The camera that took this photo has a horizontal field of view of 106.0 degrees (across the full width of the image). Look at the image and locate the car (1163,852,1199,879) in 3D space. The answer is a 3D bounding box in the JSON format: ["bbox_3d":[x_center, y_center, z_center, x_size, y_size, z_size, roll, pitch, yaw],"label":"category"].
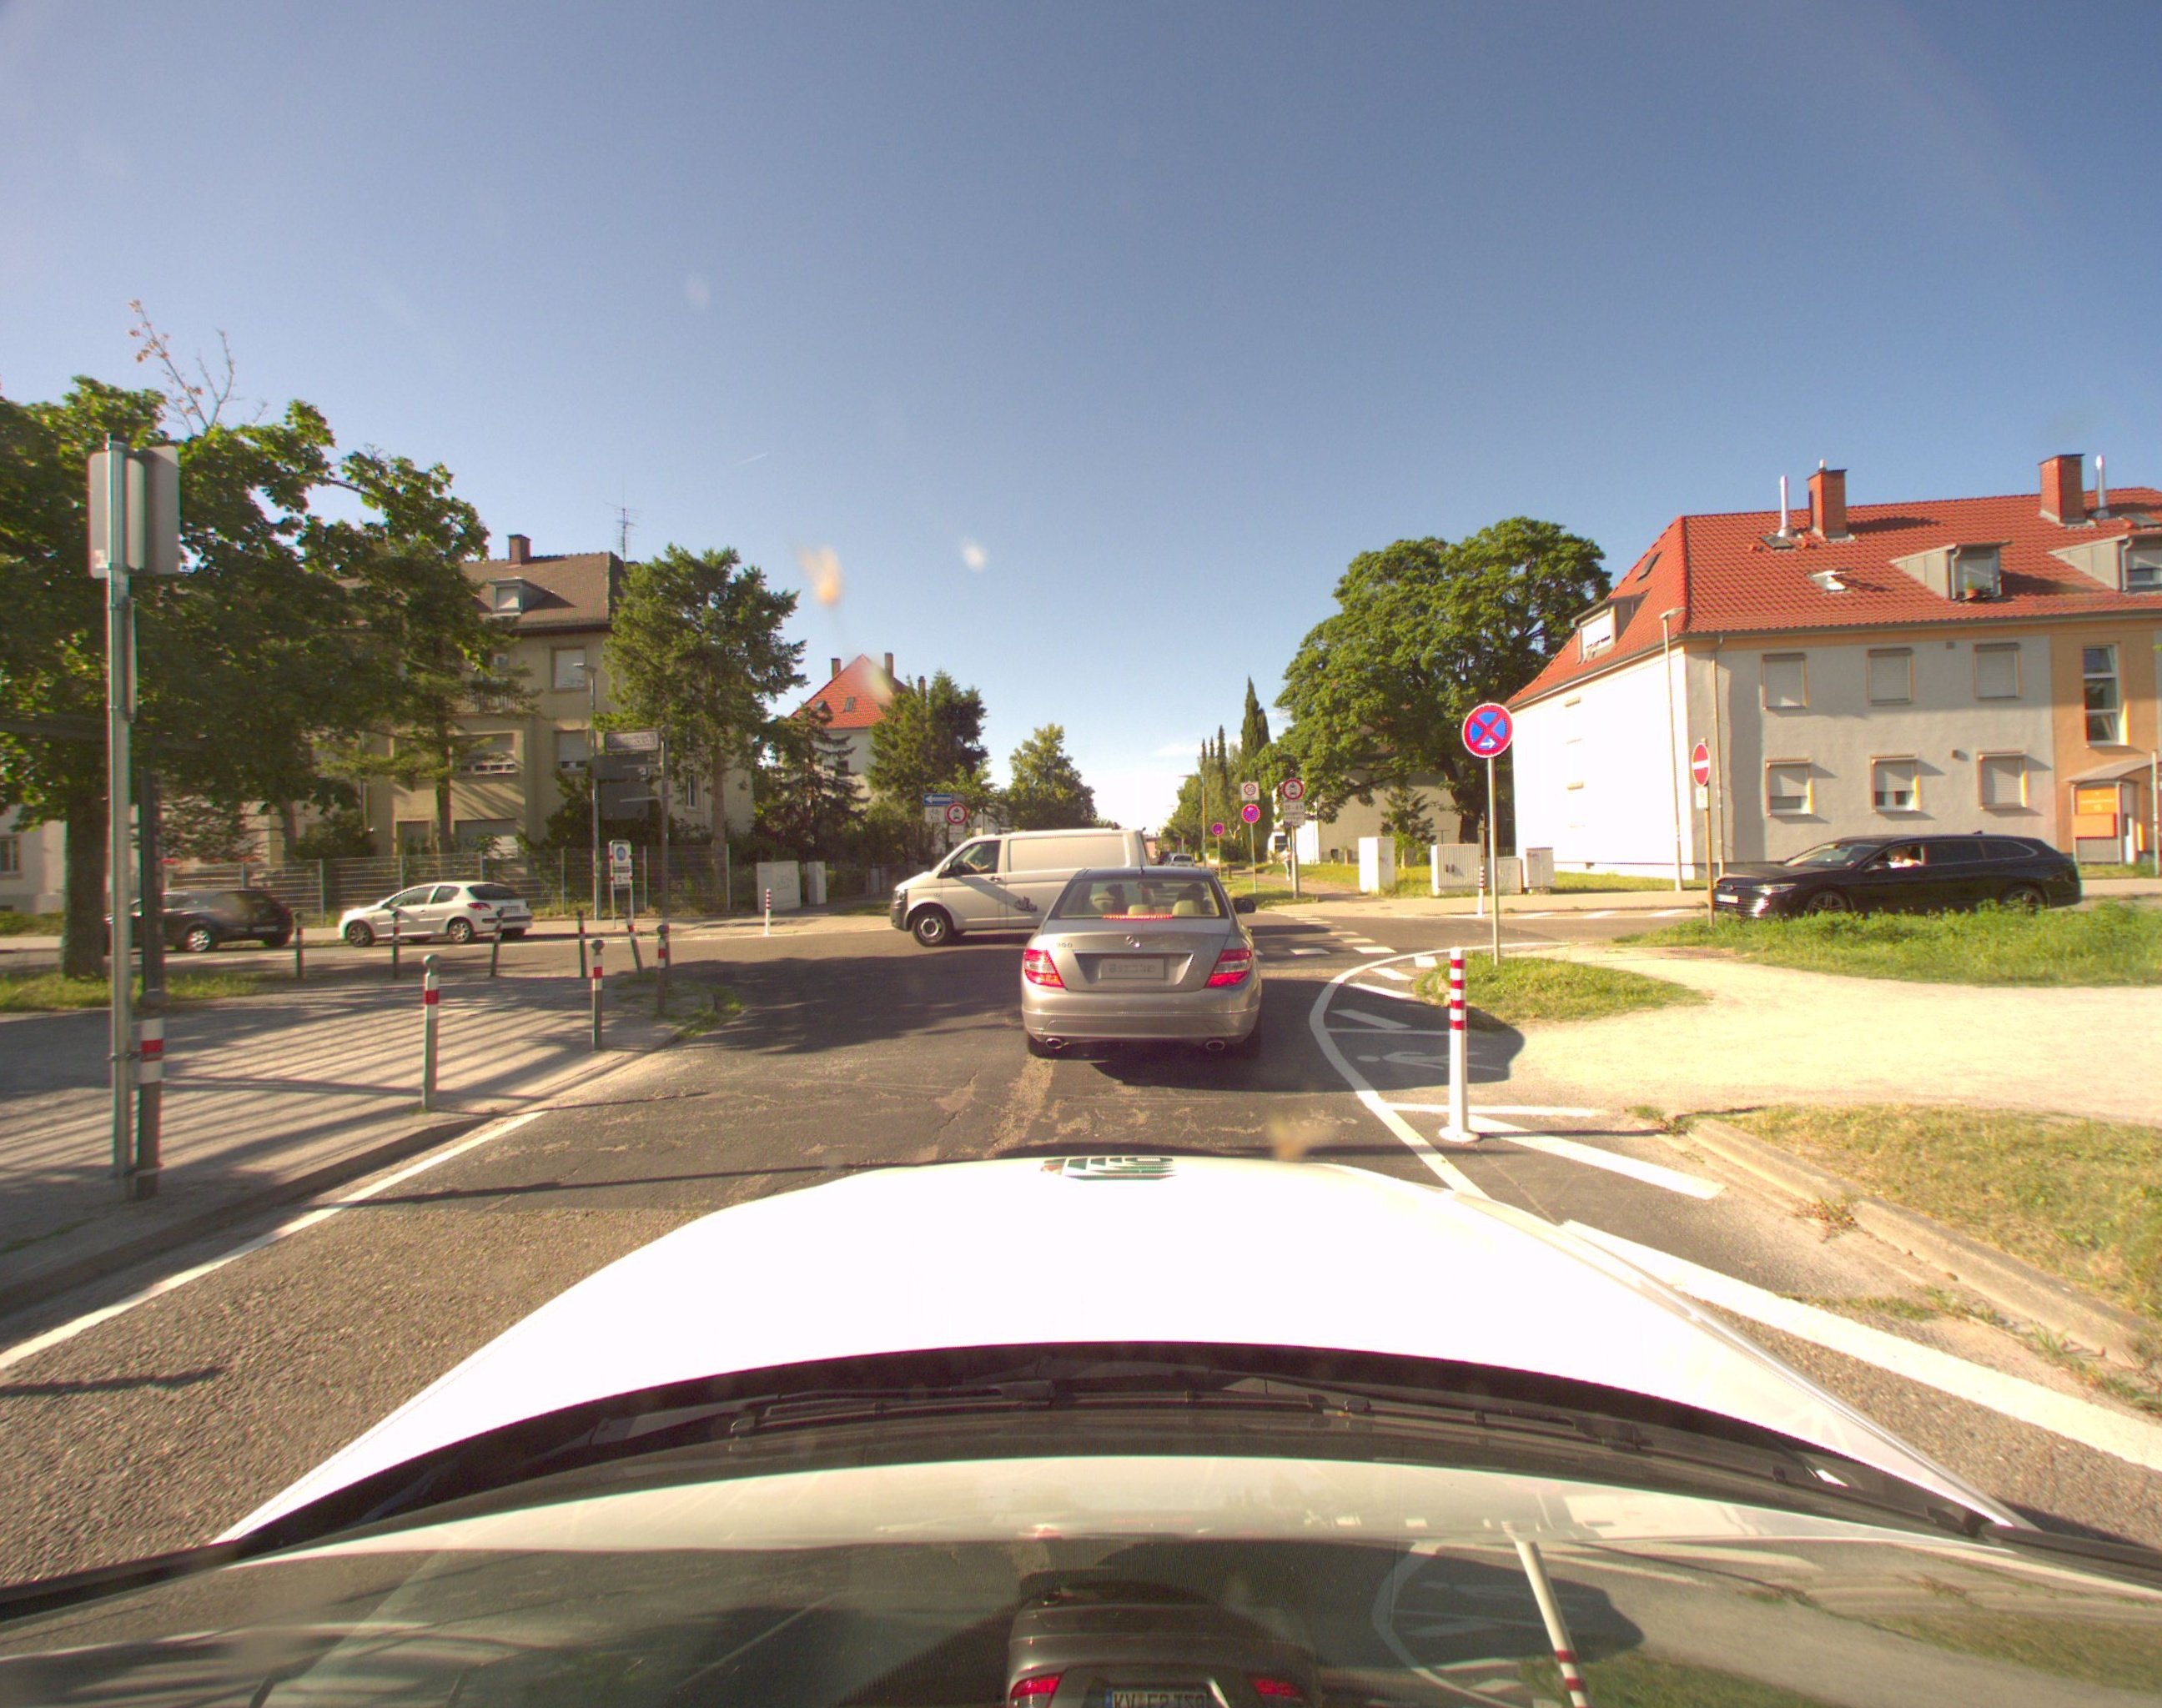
[{"bbox_3d":[5.809,0.651,47.600,1.726,1.480,3.728,-2,0,3],"label":"car"}]

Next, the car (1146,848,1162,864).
[{"bbox_3d":[9.279,0.255,103.246,1.846,1.841,4.004,-2,0,4],"label":"car"}]

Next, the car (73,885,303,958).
[{"bbox_3d":[-21.091,1.578,19.320,3.796,1.495,1.679,-2,-1,4],"label":"car"}]

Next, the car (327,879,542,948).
[{"bbox_3d":[-15.076,1.372,19.106,3.747,1.398,1.709,-2,-1,4],"label":"car"}]

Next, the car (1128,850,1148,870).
[{"bbox_3d":[4.815,0.478,69.177,1.591,1.609,3.646,-2,0,3],"label":"car"}]

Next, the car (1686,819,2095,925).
[{"bbox_3d":[13.513,0.296,13.904,4.715,1.524,2.004,-2,0,6],"label":"car"}]

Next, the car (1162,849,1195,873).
[{"bbox_3d":[6.960,0.489,58.300,1.985,1.609,4.003,-2,0,3],"label":"car"}]

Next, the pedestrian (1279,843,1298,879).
[{"bbox_3d":[9.538,0.324,37.455,0.761,1.611,0.836,-2,0,9],"label":"pedestrian"}]

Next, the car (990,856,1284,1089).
[{"bbox_3d":[0.540,0.757,7.139,1.827,1.441,4.006,-1,0,6],"label":"car"}]

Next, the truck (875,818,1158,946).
[{"bbox_3d":[-1.054,0.485,14.996,4.836,2.036,2.002,-2,0,4],"label":"truck"}]
